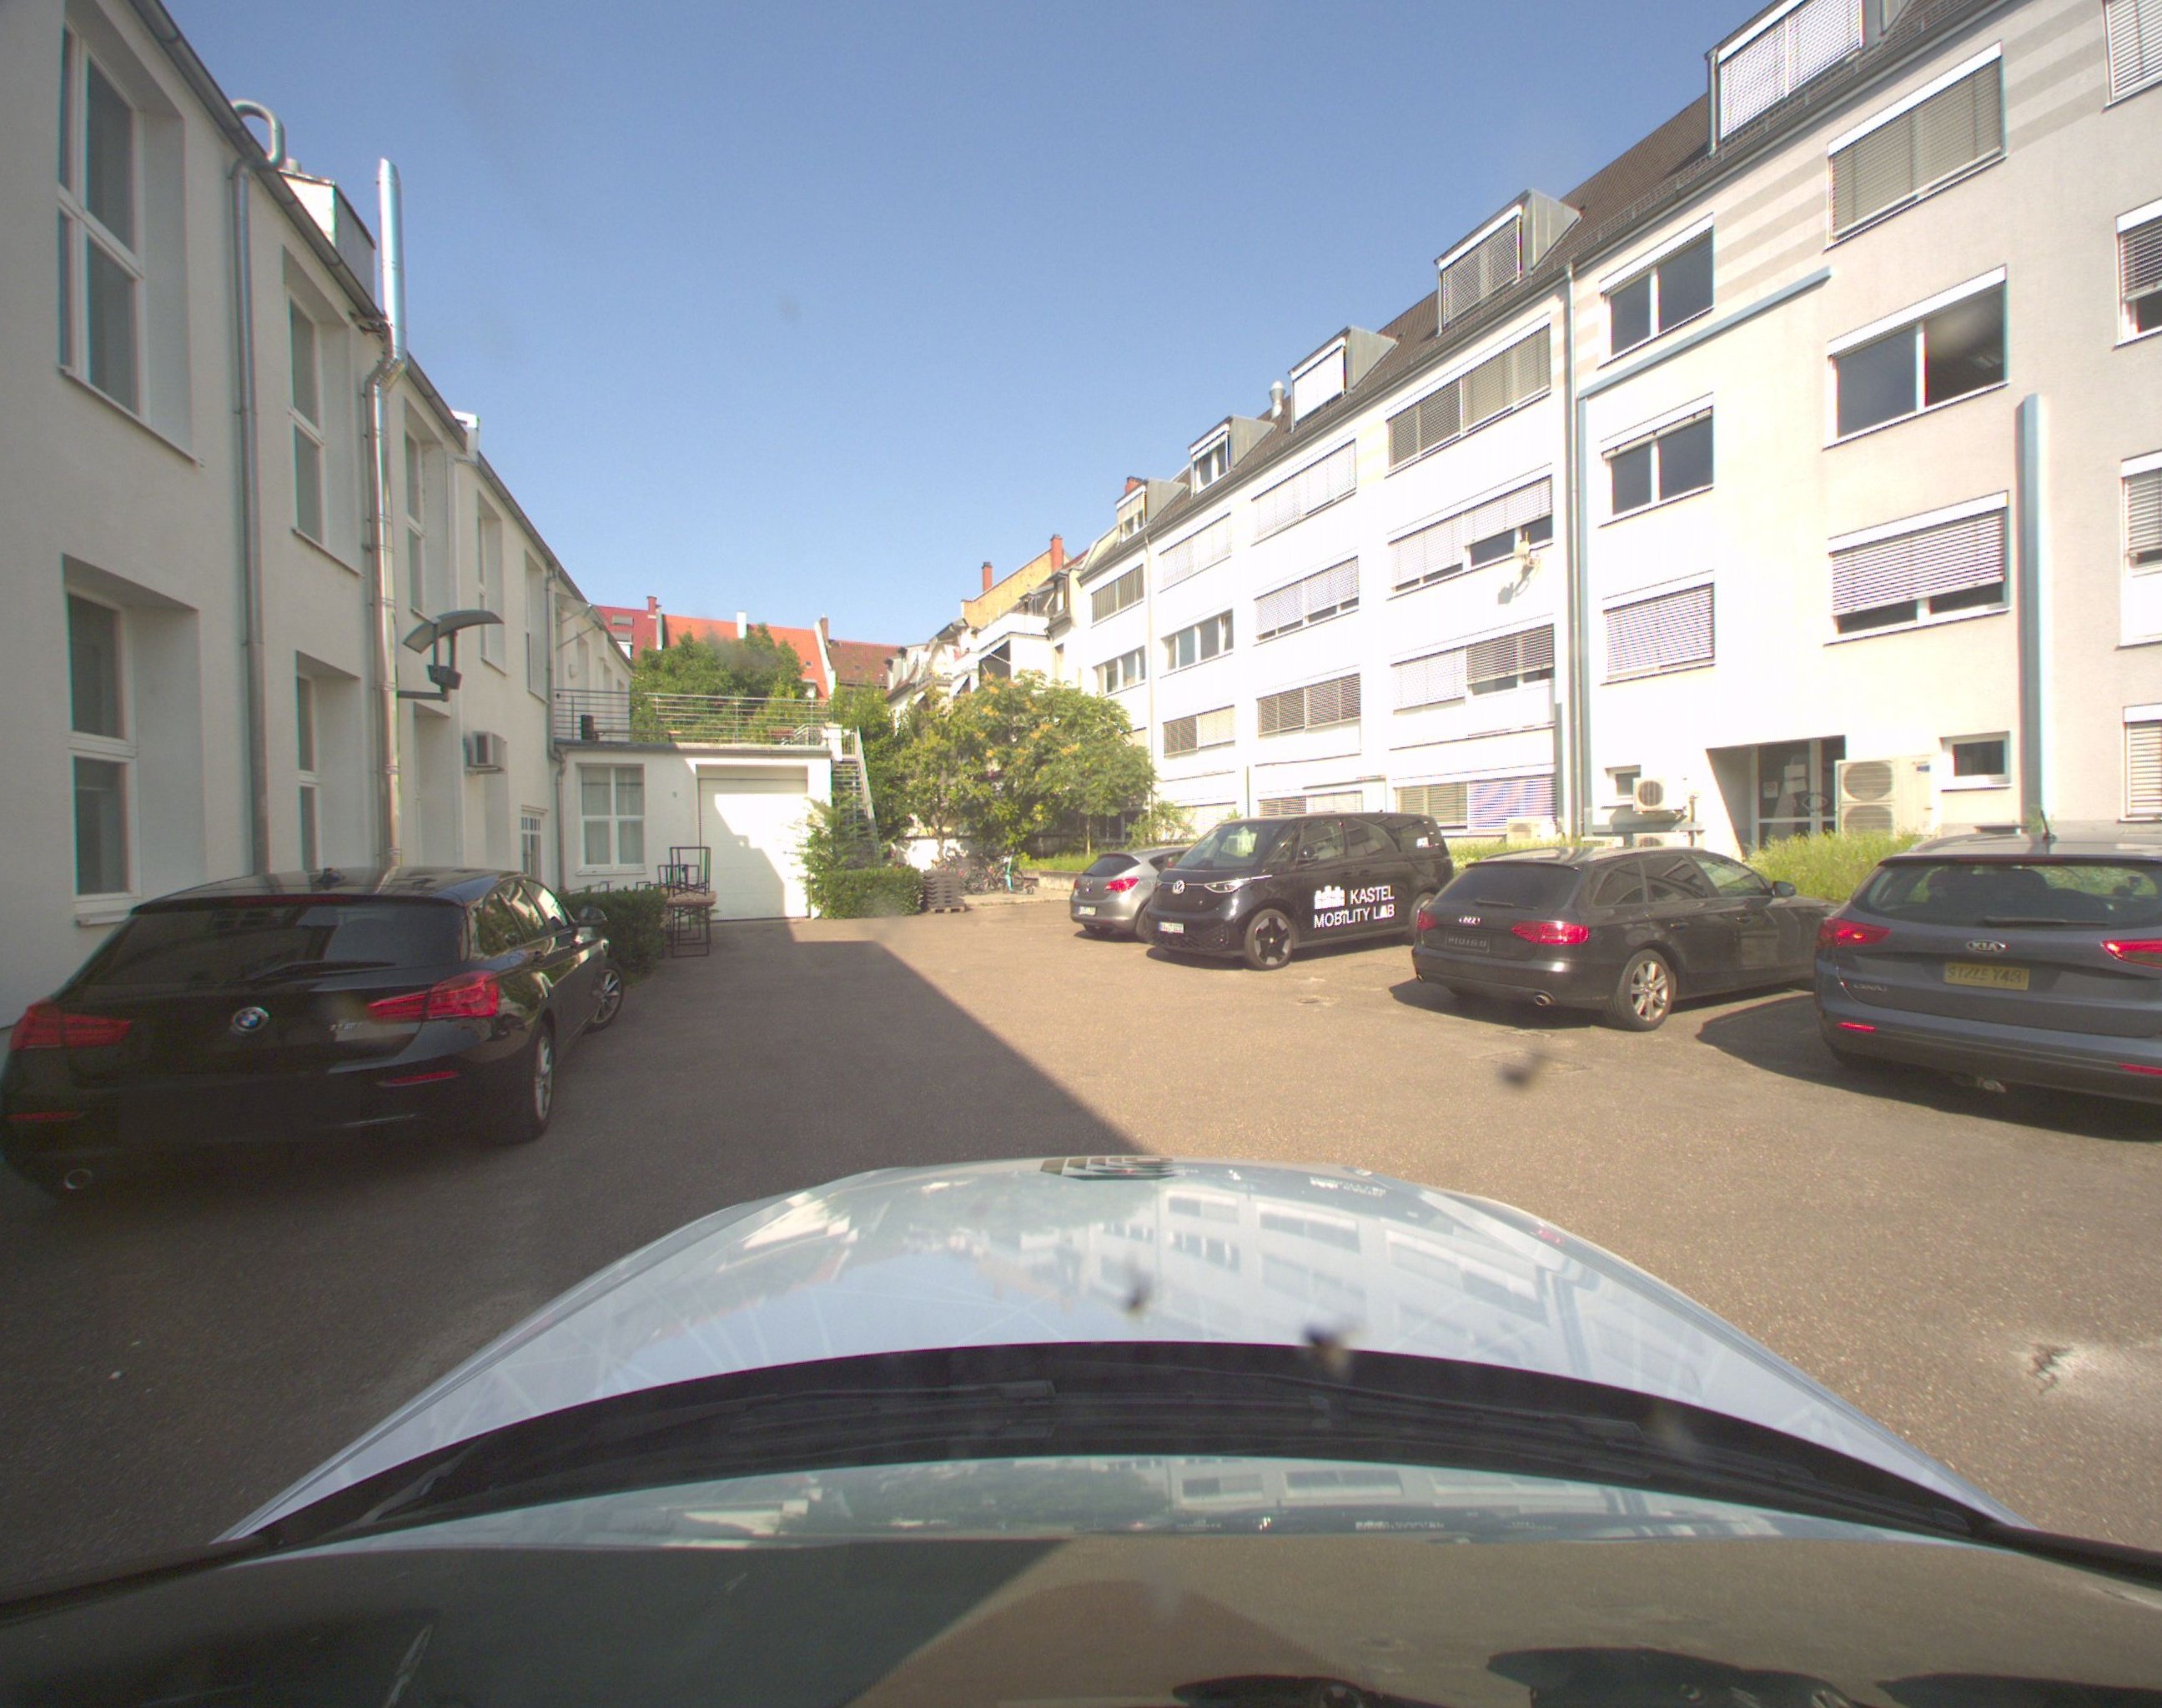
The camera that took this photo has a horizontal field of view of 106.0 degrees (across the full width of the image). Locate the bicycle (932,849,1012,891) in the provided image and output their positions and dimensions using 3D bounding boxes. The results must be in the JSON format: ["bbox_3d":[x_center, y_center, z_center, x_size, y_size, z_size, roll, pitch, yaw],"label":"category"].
[{"bbox_3d":[-3.403,0.476,25.488,2.420,1.246,0.522,-1,0,-22],"label":"bicycle"}]

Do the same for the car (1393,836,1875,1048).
[{"bbox_3d":[5.113,0.604,7.487,4.252,1.437,1.677,-2,1,-24],"label":"car"}]

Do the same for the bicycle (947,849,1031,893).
[{"bbox_3d":[-2.722,0.497,24.198,2.420,1.246,0.522,-1,0,-22],"label":"bicycle"}]

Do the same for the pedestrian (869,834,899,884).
[{"bbox_3d":[-7.020,0.171,29.041,0.854,1.771,0.612,0,0,3],"label":"pedestrian"}]

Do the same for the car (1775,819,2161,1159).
[{"bbox_3d":[6.341,0.545,5.001,4.068,1.478,1.727,-2,1,-27],"label":"car"}]

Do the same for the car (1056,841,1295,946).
[{"bbox_3d":[1.682,0.567,13.834,3.926,1.466,1.645,-2,1,-35],"label":"car"}]

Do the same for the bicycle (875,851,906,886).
[{"bbox_3d":[-6.796,0.498,29.144,0.486,1.143,1.996,-2,2,3],"label":"bicycle"}]

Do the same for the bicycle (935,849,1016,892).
[{"bbox_3d":[-3.211,0.495,24.916,2.420,1.246,0.522,-1,0,-22],"label":"bicycle"}]

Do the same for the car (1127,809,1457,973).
[{"bbox_3d":[2.977,0.357,11.224,4.364,1.858,1.896,-2,1,-32],"label":"car"}]

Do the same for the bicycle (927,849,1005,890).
[{"bbox_3d":[-3.669,0.471,26.094,2.420,1.246,0.522,-1,0,-22],"label":"bicycle"}]

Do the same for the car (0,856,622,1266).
[{"bbox_3d":[-4.140,0.758,5.115,1.801,1.428,4.103,-1,1,-24],"label":"car"}]

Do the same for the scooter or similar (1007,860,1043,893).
[{"bbox_3d":[-1.613,0.649,23.488,0.986,0.924,0.362,0,0,30],"label":"scooter or similar"}]

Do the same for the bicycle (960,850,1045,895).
[{"bbox_3d":[-2.273,0.509,23.652,2.420,1.246,0.522,-1,0,-22],"label":"bicycle"}]
